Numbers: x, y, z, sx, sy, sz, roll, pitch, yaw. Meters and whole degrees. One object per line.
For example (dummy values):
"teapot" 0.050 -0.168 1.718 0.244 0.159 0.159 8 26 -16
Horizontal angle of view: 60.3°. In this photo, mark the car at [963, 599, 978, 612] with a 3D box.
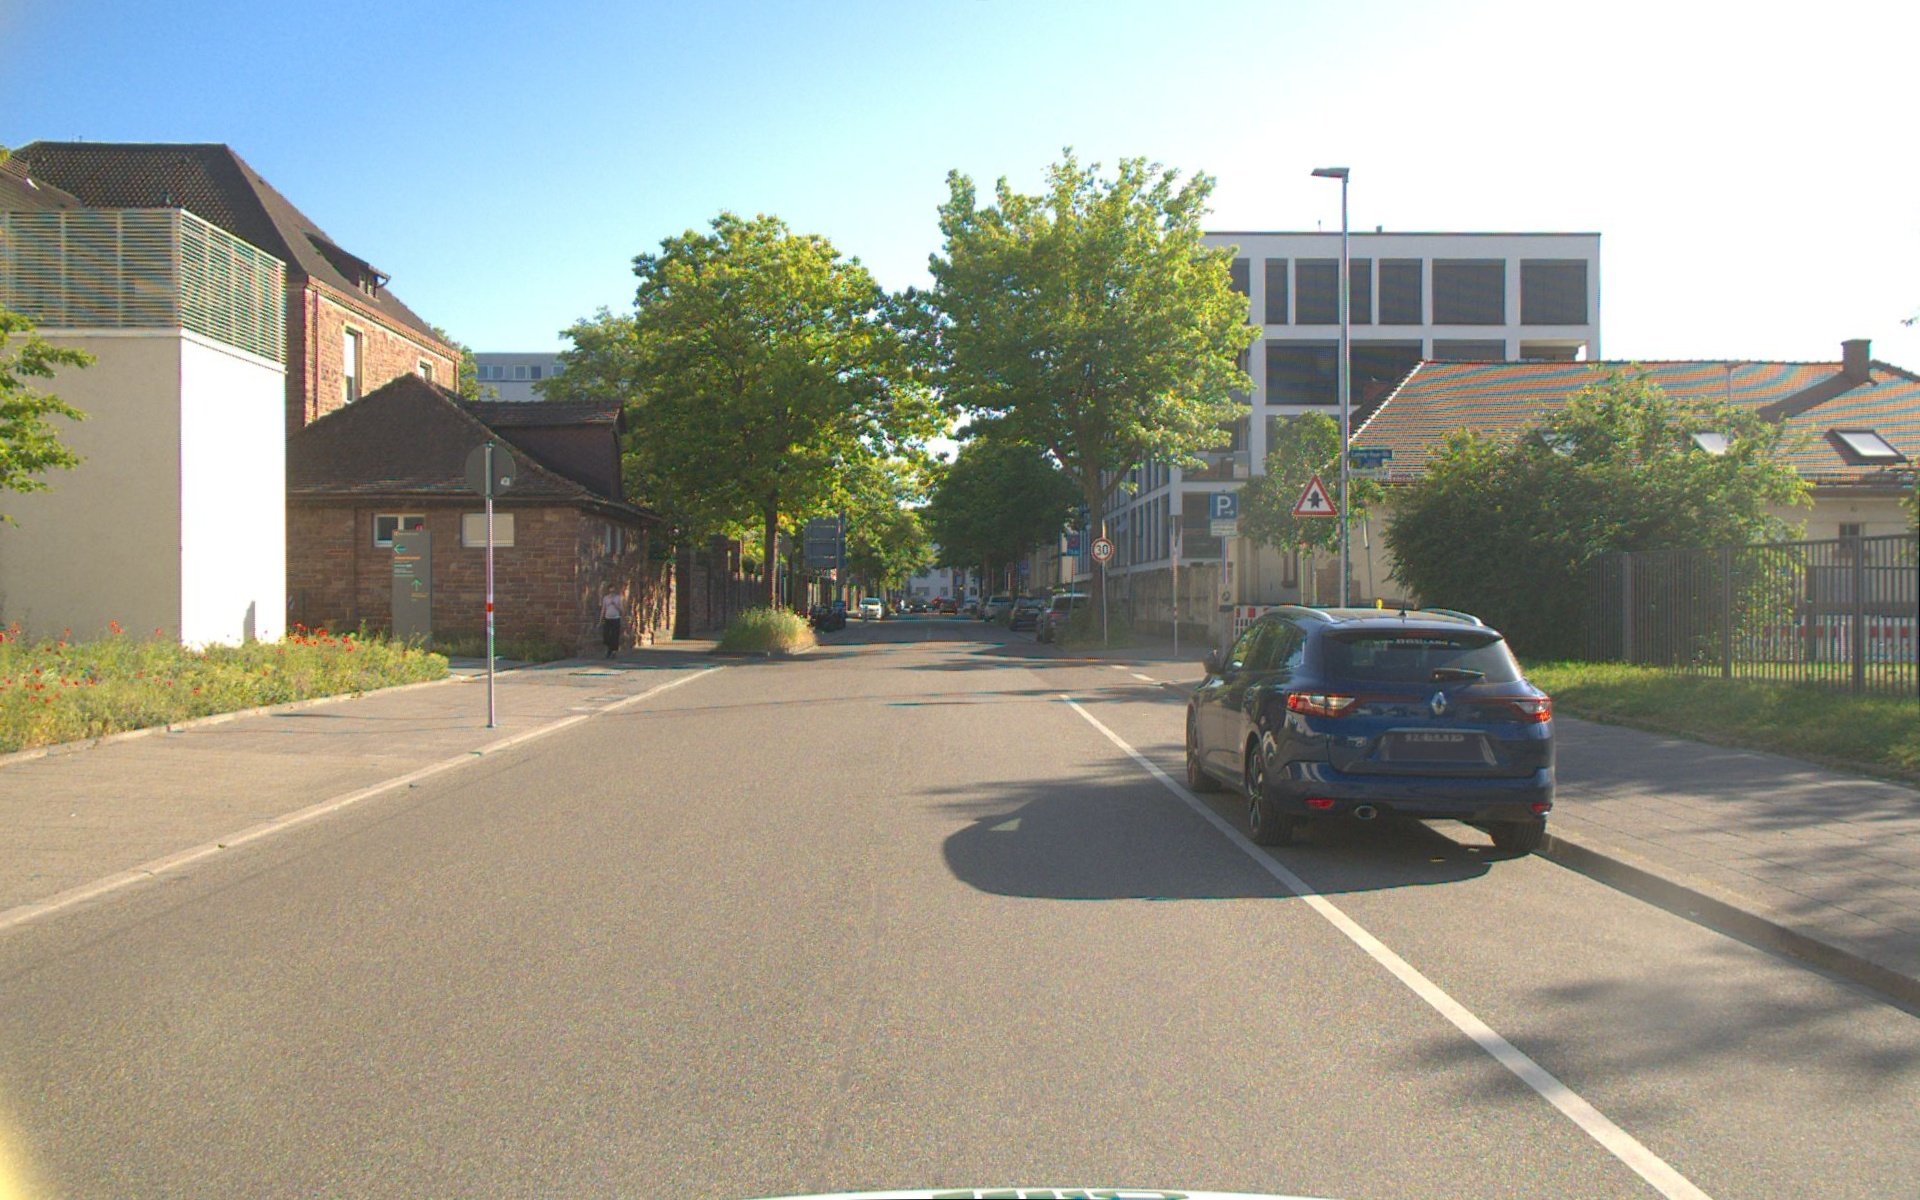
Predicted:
"car" 1.162 0.575 182.340 1.553 1.424 3.836 0 0 0

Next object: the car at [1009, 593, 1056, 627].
"car" 3.137 0.430 72.405 1.731 1.465 3.998 0 0 -2

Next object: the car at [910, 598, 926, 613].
"car" -4.305 0.532 171.839 1.620 1.557 3.999 0 0 -1

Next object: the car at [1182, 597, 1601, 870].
"car" 2.708 0.750 11.410 1.780 1.478 4.214 1 0 0

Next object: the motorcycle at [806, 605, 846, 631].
"motorcycle" -5.687 0.760 70.275 0.566 1.093 2.116 0 0 32

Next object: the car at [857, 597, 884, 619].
"car" -6.097 0.537 113.257 1.731 1.513 3.998 0 0 -2

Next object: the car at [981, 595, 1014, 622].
"car" 2.266 0.510 101.200 1.910 1.606 3.836 0 0 0

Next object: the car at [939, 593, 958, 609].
"car" -1.075 0.078 157.434 1.850 1.424 3.836 0 0 0

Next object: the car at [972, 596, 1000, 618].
"car" 1.807 0.485 116.789 1.953 1.491 3.836 0 0 0

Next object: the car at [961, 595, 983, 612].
"car" 1.050 0.316 149.304 1.953 1.450 3.836 0 0 0

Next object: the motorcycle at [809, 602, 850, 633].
"motorcycle" -5.428 0.719 68.969 0.566 1.298 2.116 0 0 32

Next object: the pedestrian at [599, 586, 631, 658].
"pedestrian" -7.685 0.477 36.883 0.511 1.590 1.095 0 0 -2

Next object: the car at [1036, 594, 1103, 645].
"car" 3.335 0.582 51.140 1.668 1.494 4.787 0 0 -1

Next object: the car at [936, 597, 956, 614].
"car" -1.331 0.552 156.631 1.731 1.575 4.064 0 0 -2
